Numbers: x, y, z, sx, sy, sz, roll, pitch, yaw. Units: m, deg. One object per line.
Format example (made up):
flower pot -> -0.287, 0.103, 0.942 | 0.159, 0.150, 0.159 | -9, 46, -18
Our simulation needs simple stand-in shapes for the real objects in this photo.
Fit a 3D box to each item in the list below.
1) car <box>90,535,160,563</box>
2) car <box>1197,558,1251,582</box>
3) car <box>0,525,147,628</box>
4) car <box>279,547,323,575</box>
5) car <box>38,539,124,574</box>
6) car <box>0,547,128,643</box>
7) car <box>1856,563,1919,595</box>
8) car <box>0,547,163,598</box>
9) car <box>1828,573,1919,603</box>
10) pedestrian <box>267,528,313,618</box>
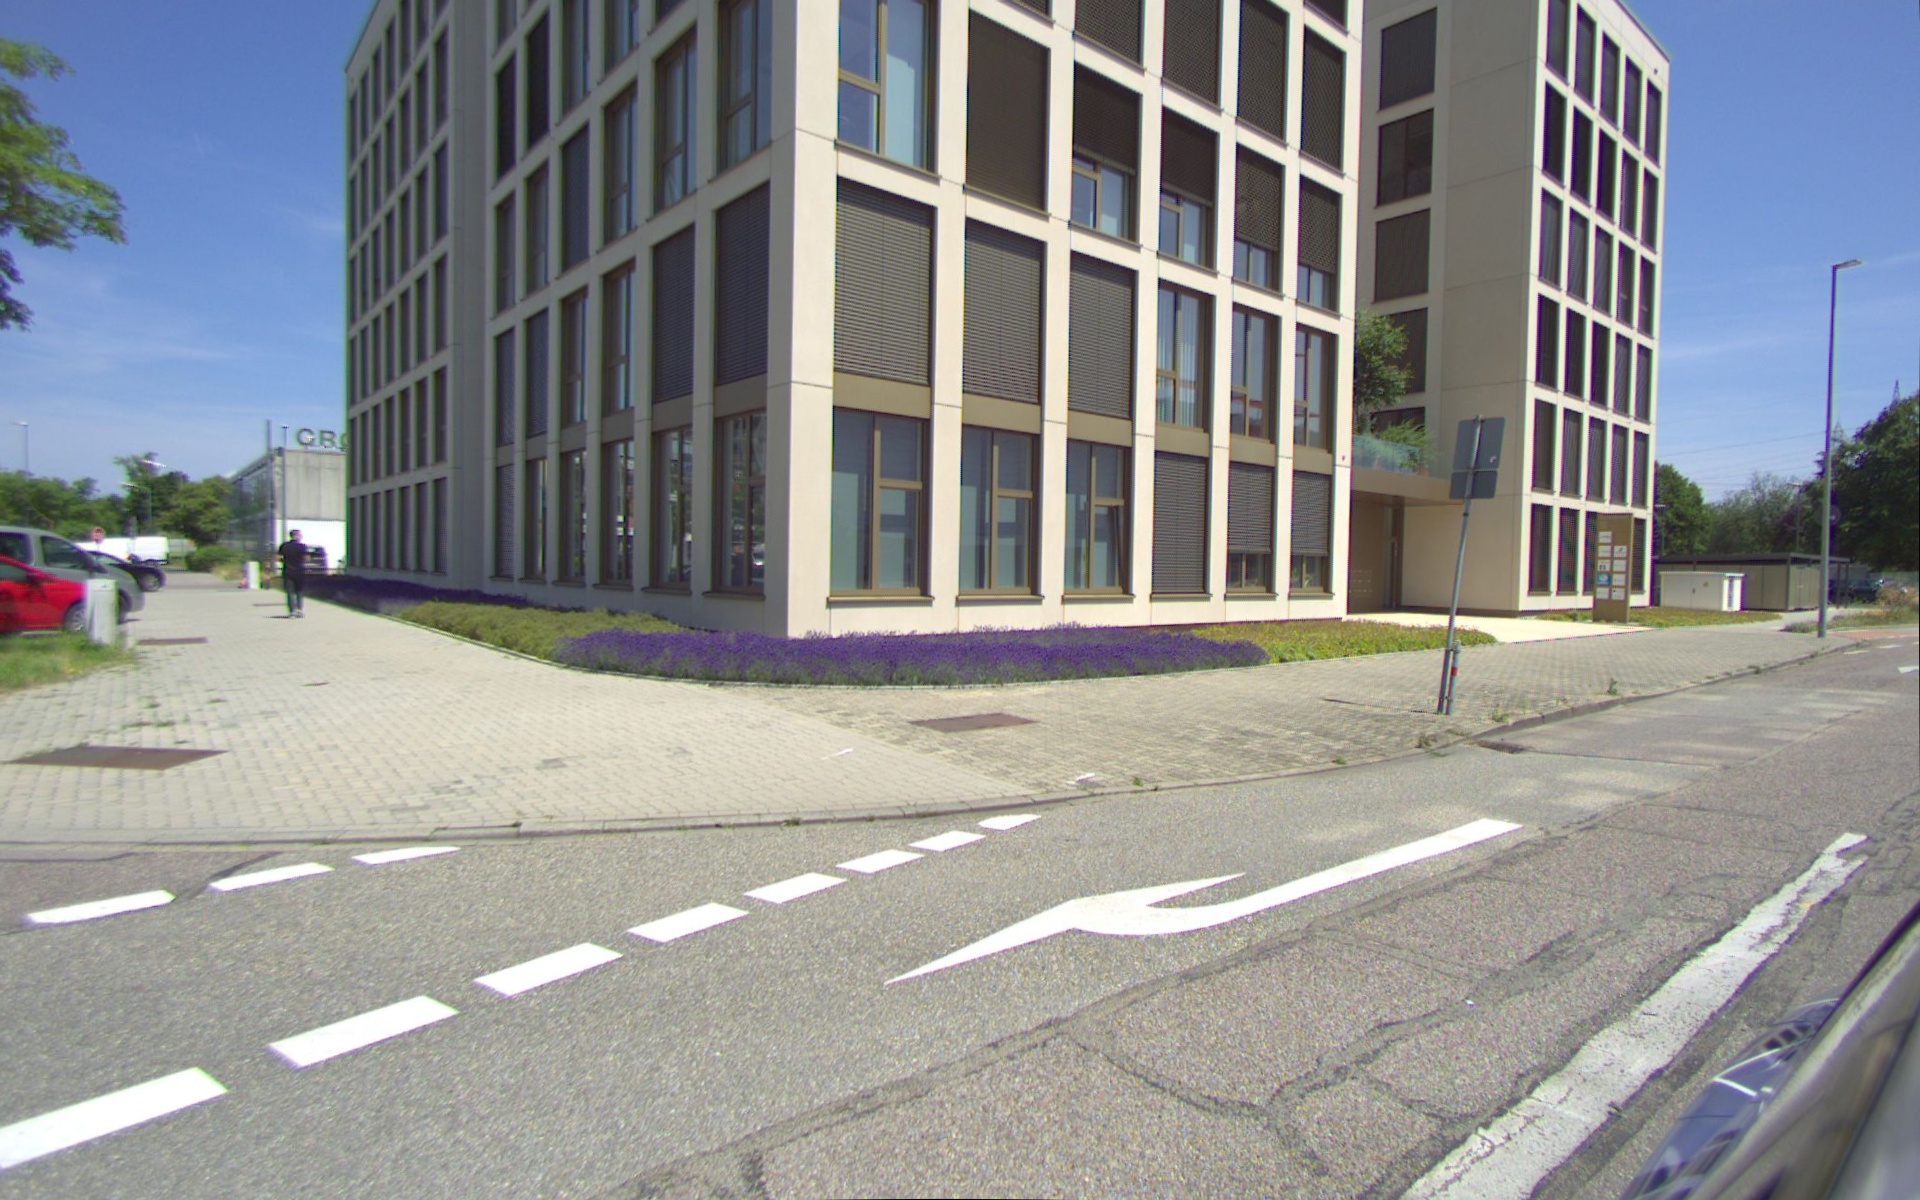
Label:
car -> -67.493, -4.096, 81.911 | 4.280, 2.146, 2.094 | 0, 2, -37
car -> 20.899, -2.365, 80.101 | 3.921, 1.874, 2.002 | 0, 2, -31
car -> -17.797, -0.448, 18.424 | 1.676, 1.838, 4.899 | 1, 2, 7
car -> -38.036, -2.282, 58.373 | 1.758, 1.540, 3.574 | -1, 3, -39
car -> -54.941, -2.710, 63.351 | 3.925, 2.038, 2.000 | 0, 2, -36
car -> -15.403, -0.084, 15.581 | 1.584, 1.452, 3.991 | 1, 2, 9
car -> 59.205, -1.312, 63.539 | 3.958, 1.977, 1.984 | 2, 2, 25
car -> -29.194, -0.969, 33.488 | 1.792, 1.557, 4.131 | 0, 3, 19
car -> 55.704, -0.734, 61.559 | 3.960, 1.682, 1.822 | 2, 3, 26
pedestrian -> -14.307, -0.589, 21.632 | 0.758, 1.867, 0.869 | -1, 3, -32
